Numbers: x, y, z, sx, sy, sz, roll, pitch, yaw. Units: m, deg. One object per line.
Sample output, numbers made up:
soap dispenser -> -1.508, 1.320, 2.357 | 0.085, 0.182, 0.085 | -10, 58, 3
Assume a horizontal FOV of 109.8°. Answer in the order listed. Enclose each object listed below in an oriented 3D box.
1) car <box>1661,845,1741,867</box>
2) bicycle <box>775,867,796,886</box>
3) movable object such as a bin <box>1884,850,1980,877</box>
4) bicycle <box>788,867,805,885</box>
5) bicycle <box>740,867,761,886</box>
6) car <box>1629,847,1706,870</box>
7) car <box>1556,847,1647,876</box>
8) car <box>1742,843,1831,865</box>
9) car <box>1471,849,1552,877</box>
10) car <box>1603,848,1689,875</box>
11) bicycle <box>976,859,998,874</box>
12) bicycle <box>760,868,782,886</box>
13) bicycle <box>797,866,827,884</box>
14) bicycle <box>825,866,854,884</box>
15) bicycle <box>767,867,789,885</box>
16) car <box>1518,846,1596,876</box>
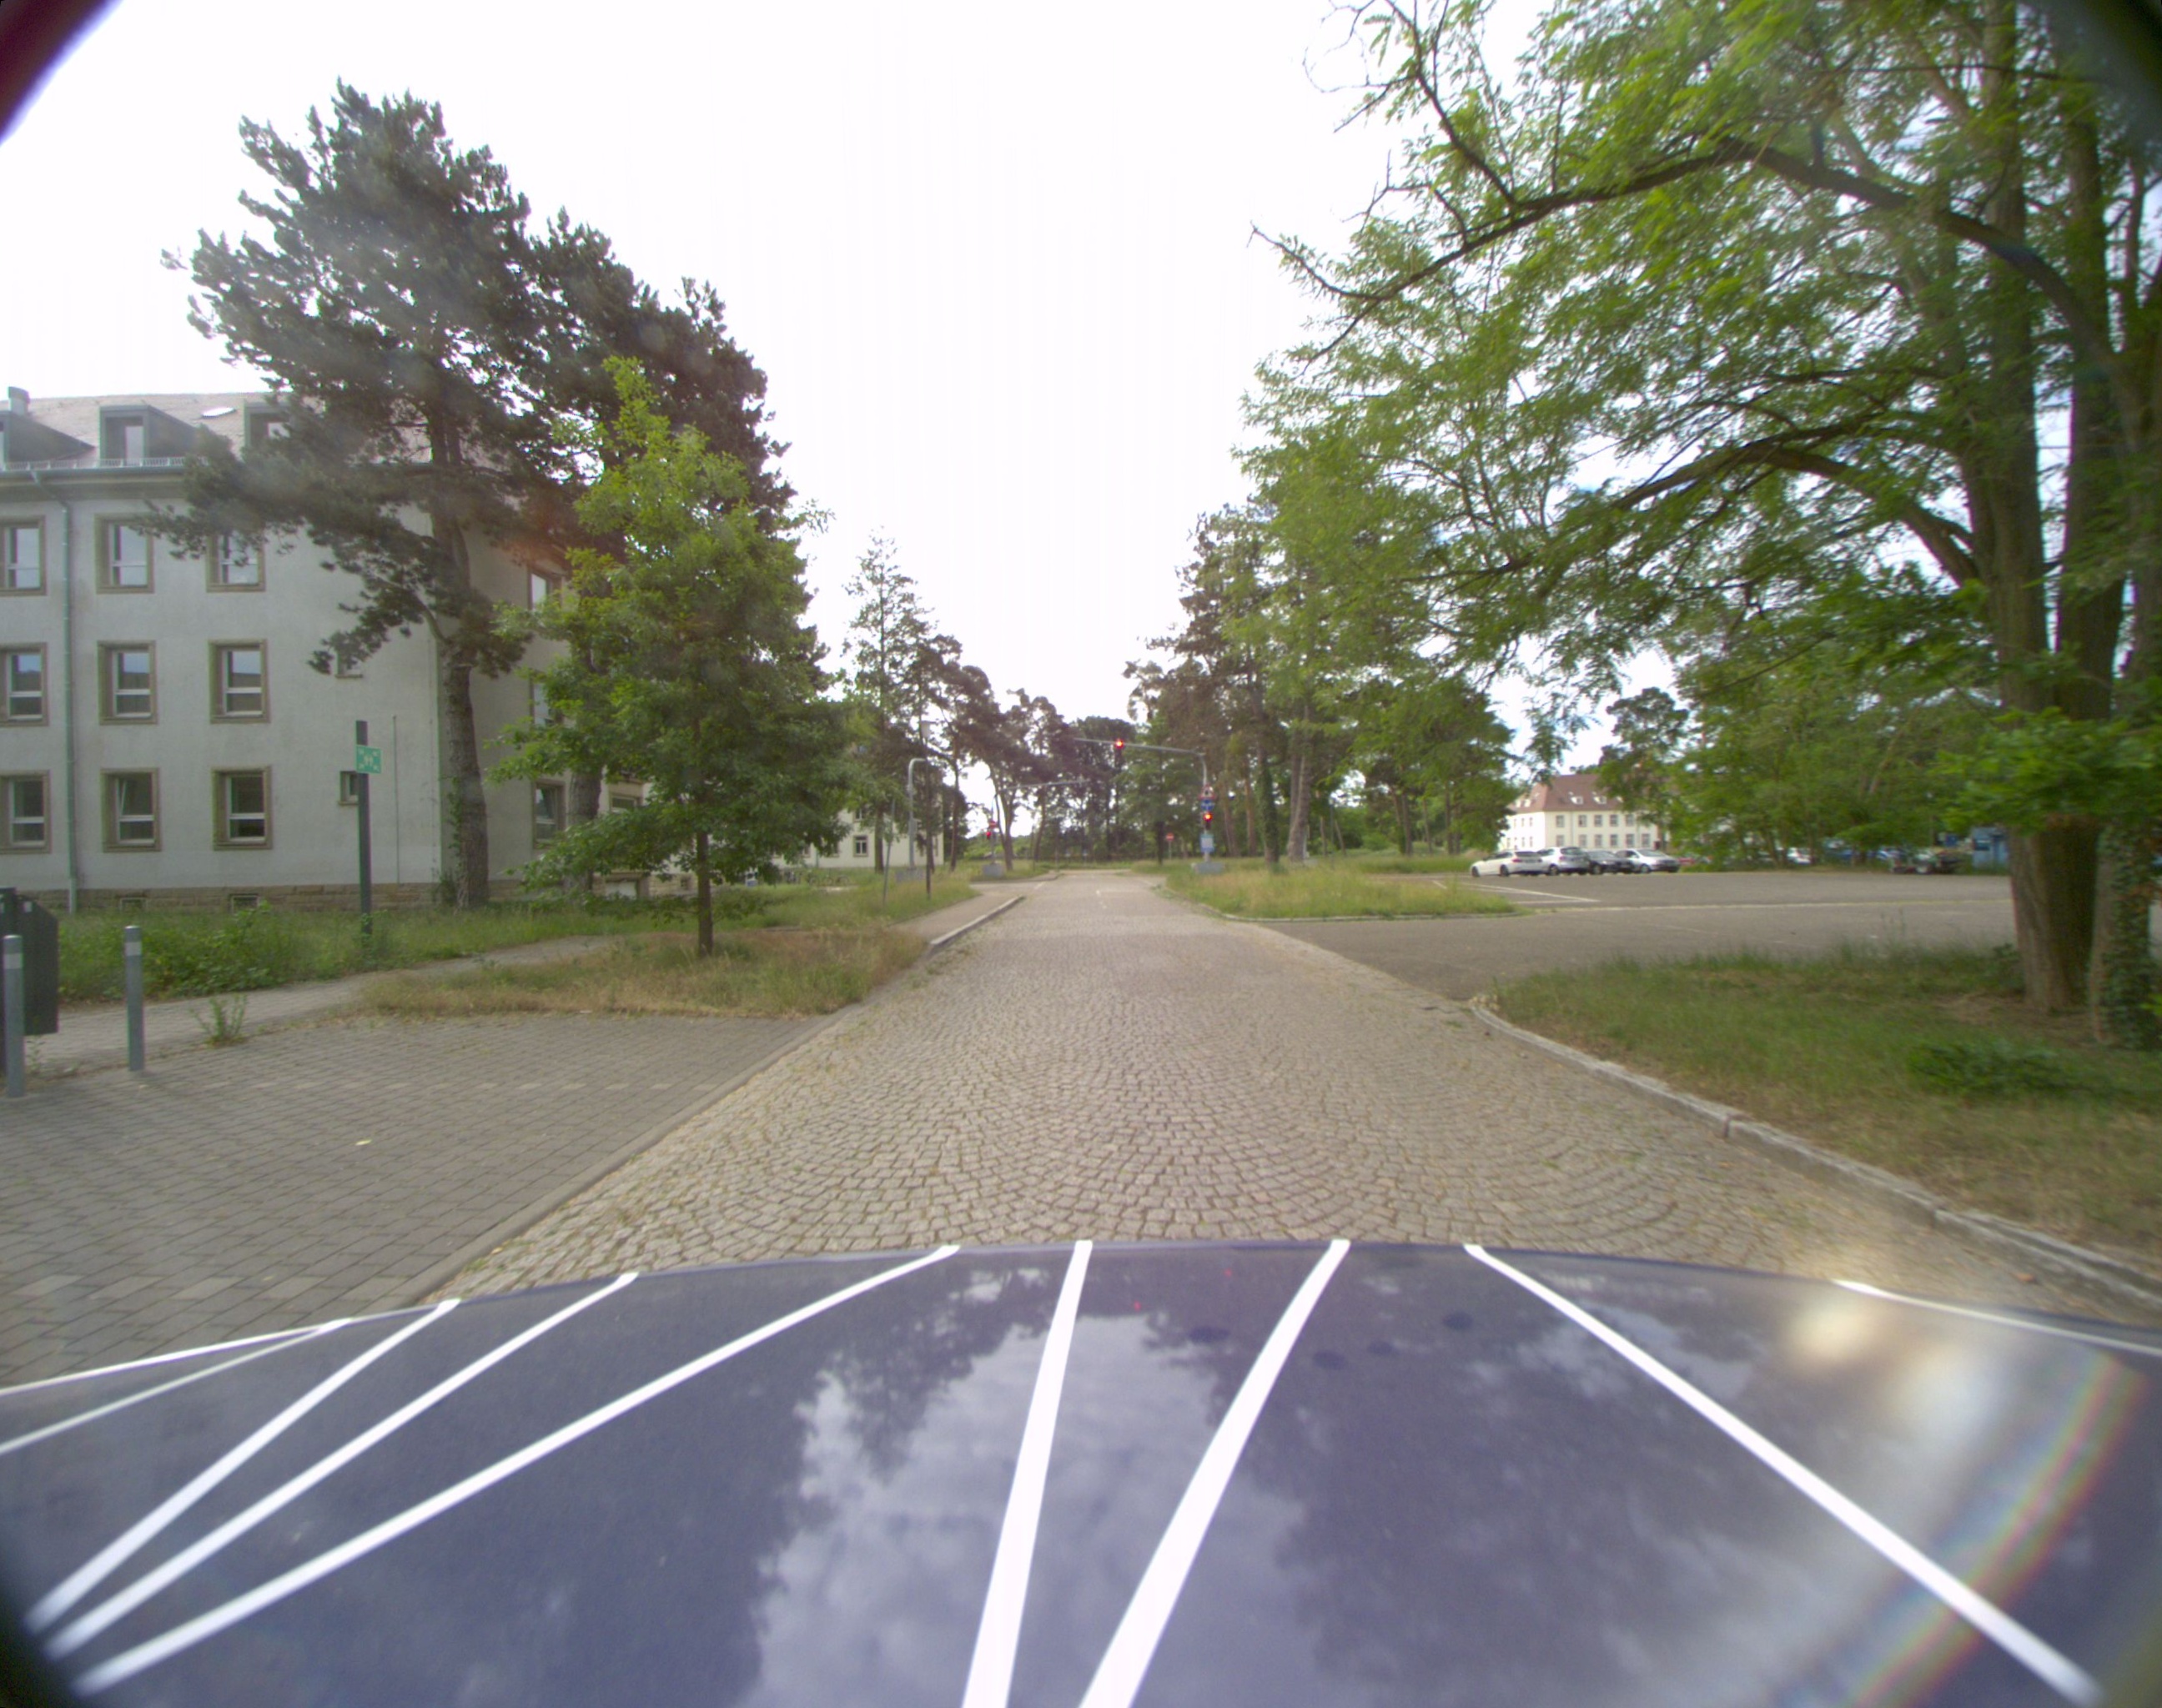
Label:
car -> 42.903, 0.151, 52.732 | 1.829, 1.466, 4.401 | -1, 0, -2
bicycle -> -19.047, 1.433, 49.004 | 0.476, 1.121, 1.704 | -1, 0, 9
movable object such as a bin -> 32.317, 0.360, 28.904 | 1.448, 0.963, 1.957 | -1, 0, -7
bicycle -> -18.422, 1.434, 49.235 | 0.476, 1.121, 1.656 | -1, 0, -1
bicycle -> -21.359, 1.451, 49.098 | 0.448, 1.121, 1.731 | -1, 0, 4
car -> 40.350, 0.288, 52.400 | 1.829, 1.466, 4.401 | -1, 0, -2
car -> 28.343, 0.383, 41.582 | 1.829, 1.466, 4.401 | -1, 0, -2
car -> 48.735, 0.009, 52.618 | 1.830, 1.466, 4.401 | -1, 0, -4
car -> 23.185, 0.481, 41.135 | 1.829, 1.417, 4.319 | -1, 0, -2
car -> 31.141, 0.421, 42.059 | 1.637, 1.391, 4.037 | -1, 0, -2
bicycle -> -6.883, 0.896, 55.652 | 0.613, 1.079, 1.660 | -1, 0, 32
bicycle -> -20.016, 1.454, 49.097 | 0.447, 1.121, 1.732 | -1, 0, 9
bicycle -> -16.863, 1.311, 47.593 | 1.655, 1.079, 0.615 | -1, 0, 2
bicycle -> -15.163, 1.303, 47.730 | 1.656, 1.079, 0.614 | -1, 0, -3
bicycle -> -19.540, 1.431, 49.029 | 0.447, 1.121, 1.703 | -1, 0, 9
car -> 25.693, 0.434, 41.177 | 1.674, 1.510, 3.899 | -1, -2, -2
